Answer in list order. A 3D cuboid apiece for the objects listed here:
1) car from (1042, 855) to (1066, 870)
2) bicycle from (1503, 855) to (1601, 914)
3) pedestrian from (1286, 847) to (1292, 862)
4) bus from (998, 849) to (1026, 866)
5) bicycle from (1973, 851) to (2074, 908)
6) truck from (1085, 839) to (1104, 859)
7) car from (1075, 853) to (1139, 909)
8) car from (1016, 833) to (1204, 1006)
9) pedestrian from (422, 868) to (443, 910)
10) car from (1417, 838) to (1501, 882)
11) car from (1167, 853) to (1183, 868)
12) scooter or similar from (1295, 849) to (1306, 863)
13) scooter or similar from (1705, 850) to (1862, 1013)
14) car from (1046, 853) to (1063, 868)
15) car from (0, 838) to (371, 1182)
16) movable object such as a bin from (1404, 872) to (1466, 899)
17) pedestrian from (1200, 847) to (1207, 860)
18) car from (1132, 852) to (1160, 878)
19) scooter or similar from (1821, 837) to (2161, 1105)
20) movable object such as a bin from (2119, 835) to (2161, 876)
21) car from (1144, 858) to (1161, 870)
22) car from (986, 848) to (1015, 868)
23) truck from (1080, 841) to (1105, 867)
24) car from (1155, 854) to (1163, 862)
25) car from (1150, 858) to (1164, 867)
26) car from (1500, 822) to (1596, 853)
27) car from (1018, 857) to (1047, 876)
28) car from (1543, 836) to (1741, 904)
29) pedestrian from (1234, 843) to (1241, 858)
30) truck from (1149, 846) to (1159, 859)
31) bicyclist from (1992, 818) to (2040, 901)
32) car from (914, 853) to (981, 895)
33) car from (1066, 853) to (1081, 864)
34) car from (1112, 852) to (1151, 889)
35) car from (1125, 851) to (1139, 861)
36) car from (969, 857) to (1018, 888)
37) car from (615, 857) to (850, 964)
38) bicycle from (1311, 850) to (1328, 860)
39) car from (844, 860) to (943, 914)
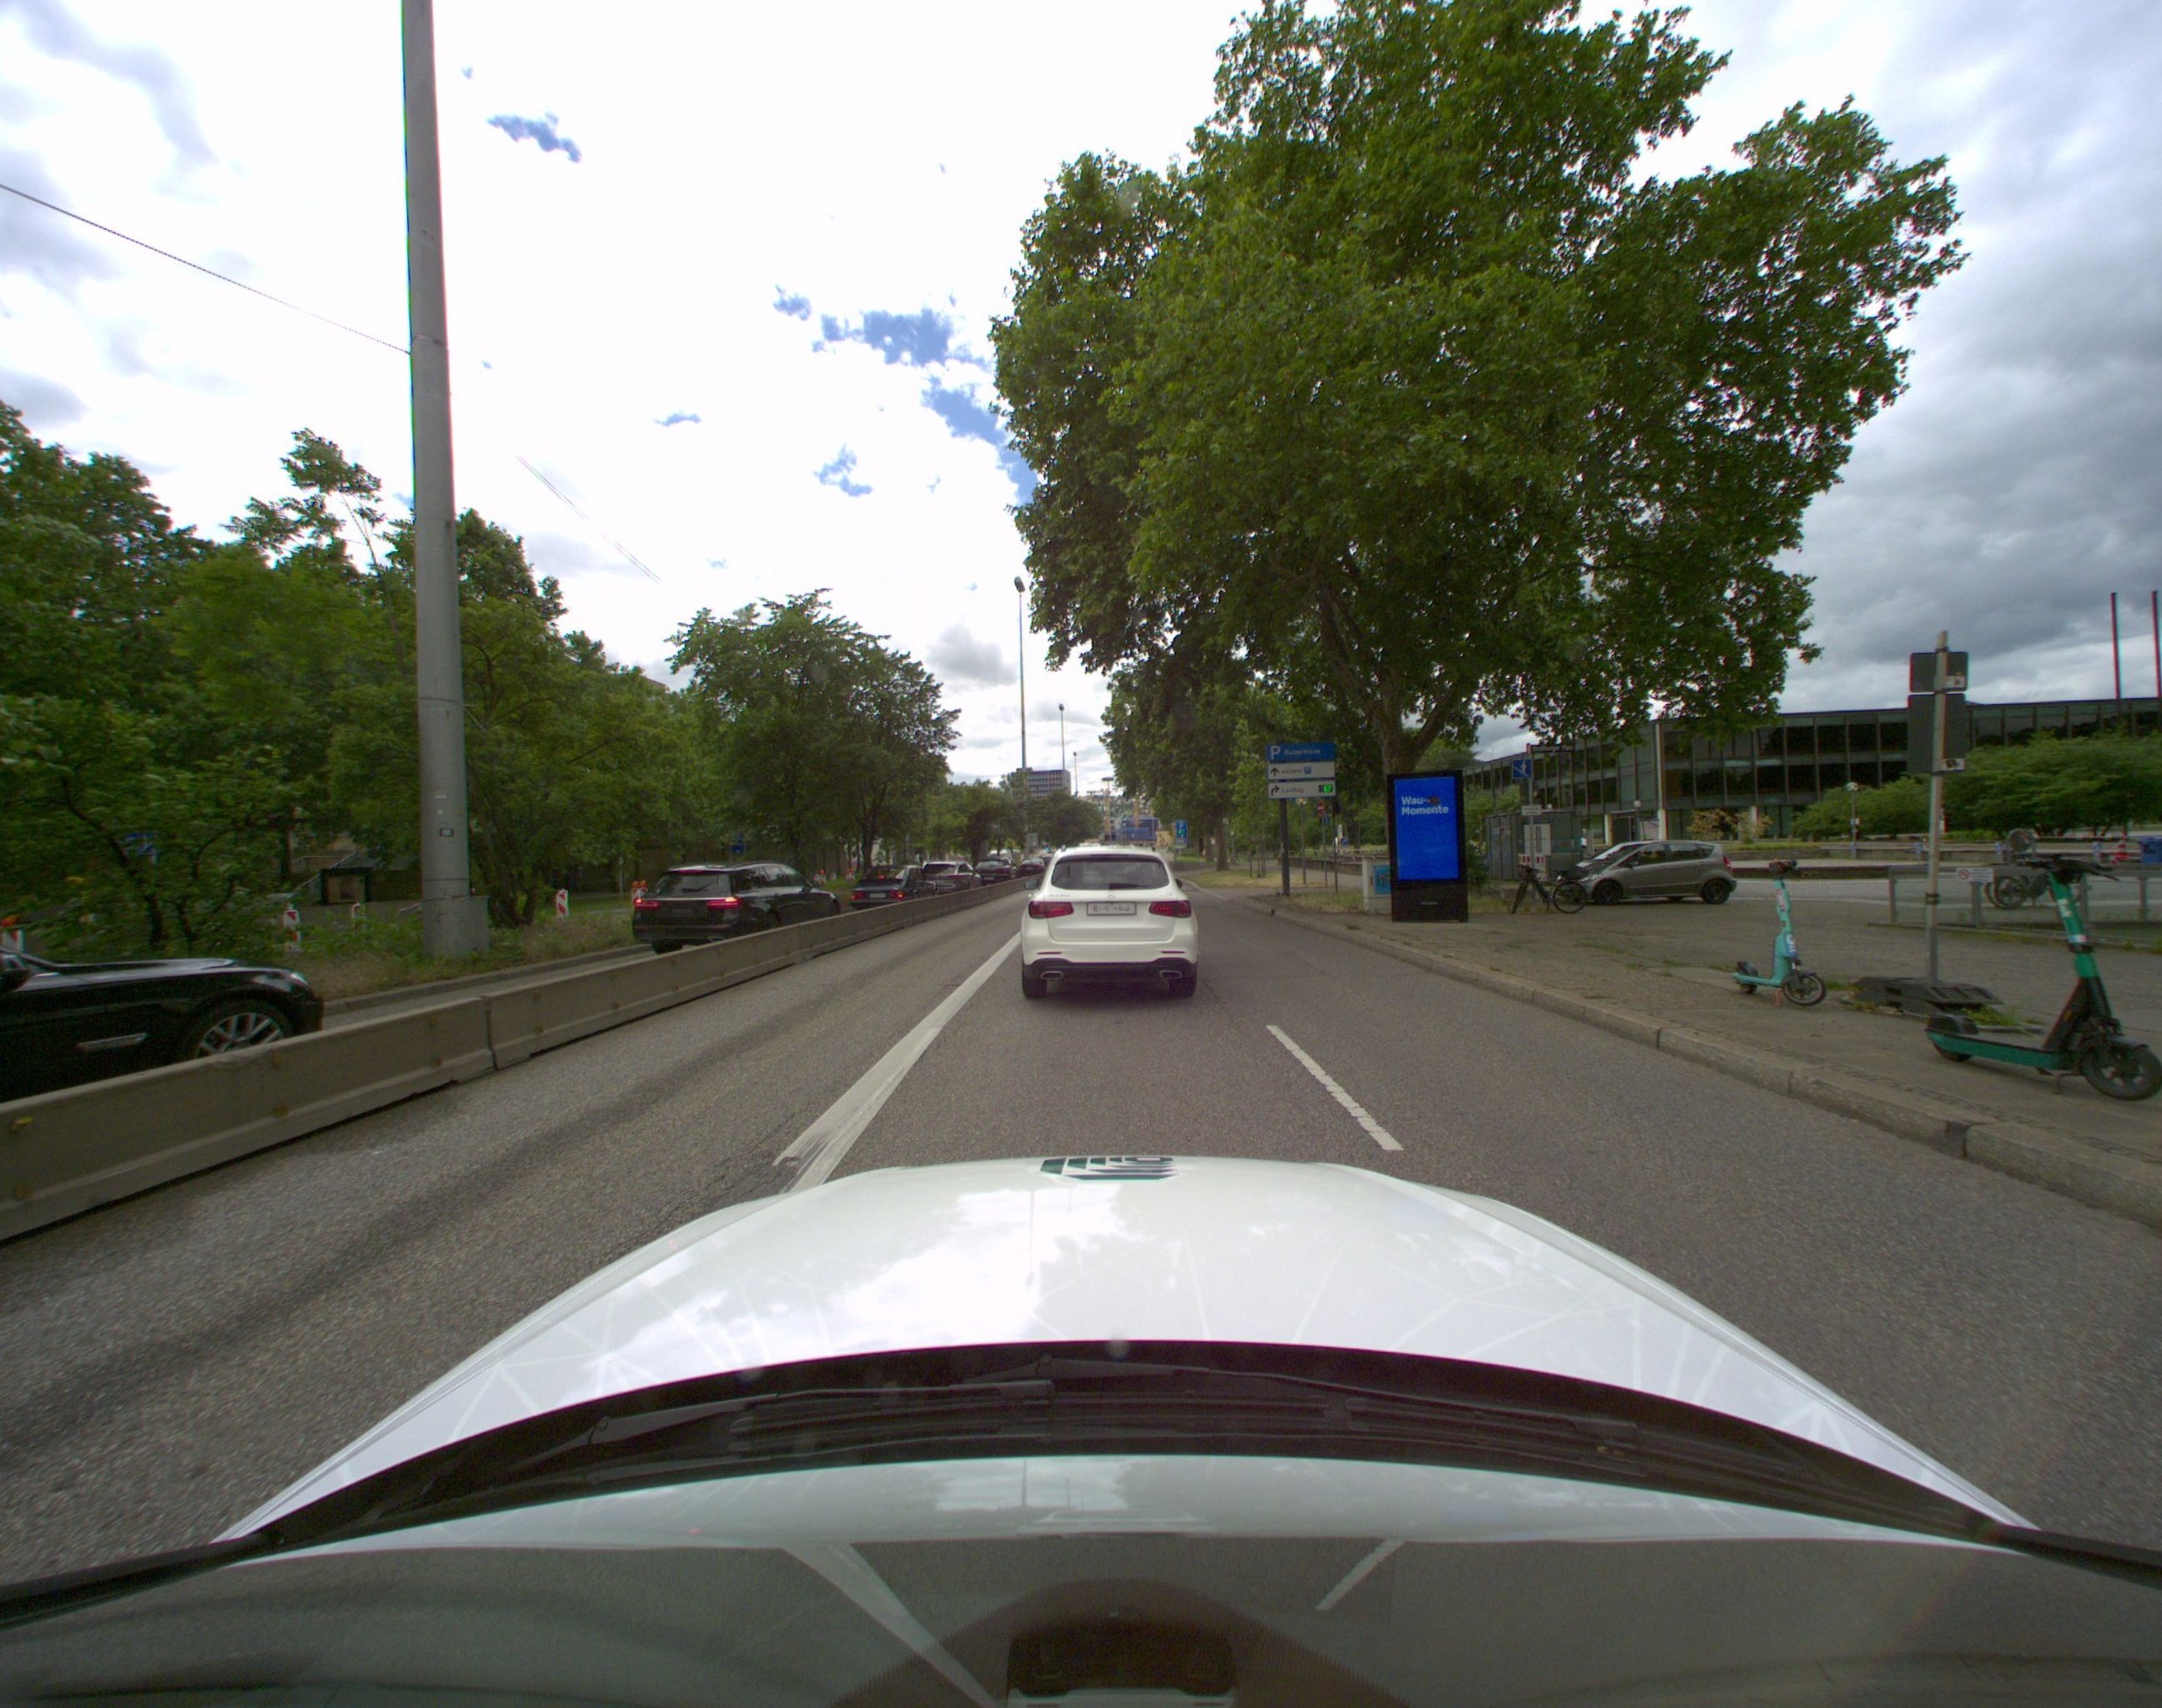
[{"bbox_3d":[-2.356,0.744,71.448,1.651,1.319,3.553,-1,-1,6],"label":"car"},{"bbox_3d":[10.174,0.645,17.614,1.776,1.221,0.493,-1,-1,5],"label":"bicycle"},{"bbox_3d":[22.851,0.028,89.446,0.634,1.611,0.665,-2,0,10],"label":"pedestrian"},{"bbox_3d":[-14.504,0.724,173.109,3.651,3.205,14.288,-2,0,4],"label":"bus"},{"bbox_3d":[19.798,0.523,17.115,1.746,1.131,0.443,-1,0,-6],"label":"bicycle"},{"bbox_3d":[2.017,-0.702,122.605,2.681,2.992,5.640,0,-1,2],"label":"truck"},{"bbox_3d":[0.763,0.814,25.747,1.791,1.608,3.752,-1,-1,-2],"label":"car"},{"bbox_3d":[0.203,0.632,10.134,1.783,1.625,4.433,-2,0,-2],"label":"car"},{"bbox_3d":[-31.985,1.712,40.176,0.449,2.013,0.666,-2,0,3],"label":"pedestrian"},{"bbox_3d":[15.250,0.201,33.073,1.752,1.551,4.031,-2,2,4],"label":"car"},{"bbox_3d":[13.194,0.909,114.290,1.985,2.014,4.004,-1,-1,4],"label":"car"},{"bbox_3d":[20.215,0.186,74.932,0.632,1.245,2.228,0,-1,5],"label":"scooter or similar"},{"bbox_3d":[6.104,0.617,7.164,0.428,1.280,1.439,0,-1,14],"label":"scooter or similar"},{"bbox_3d":[-2.685,0.676,83.184,1.654,1.513,3.547,-2,-1,0],"label":"car"},{"bbox_3d":[-6.139,0.748,3.340,1.915,1.636,4.941,-1,-1,4],"label":"car"},{"bbox_3d":[8.820,0.783,20.334,1.290,0.652,0.731,0,-1,11],"label":"movable object such as a bin"},{"bbox_3d":[19.754,-0.030,131.001,0.752,2.013,0.703,-2,-1,39],"label":"pedestrian"},{"bbox_3d":[4.678,0.784,58.723,1.818,1.752,4.003,-2,0,2],"label":"car"},{"bbox_3d":[5.329,0.590,4.767,0.723,1.331,1.414,0,-1,2],"label":"scooter or similar"},{"bbox_3d":[35.312,0.027,26.551,1.402,1.304,1.154,-2,0,5],"label":"movable object such as a bin"},{"bbox_3d":[8.550,1.155,97.062,1.938,1.428,4.021,-1,-1,4],"label":"car"},{"bbox_3d":[-8.470,0.410,86.332,2.107,1.969,5.582,-2,0,3],"label":"car"},{"bbox_3d":[1.332,-0.008,91.092,2.611,2.861,7.082,0,0,2],"label":"truck"},{"bbox_3d":[17.619,0.889,183.842,1.751,1.669,4.171,-1,0,3],"label":"car"},{"bbox_3d":[10.959,1.190,117.444,1.938,1.319,4.021,-1,-1,4],"label":"car"},{"bbox_3d":[36.946,-1.283,64.573,6.079,2.261,2.404,-1,0,4],"label":"car"},{"bbox_3d":[-3.452,0.890,58.047,1.652,1.319,3.550,-1,-1,3],"label":"car"},{"bbox_3d":[14.144,0.398,20.698,3.820,1.568,1.680,-1,0,2],"label":"car"},{"bbox_3d":[18.726,-0.398,97.184,0.754,1.725,0.701,-2,0,11],"label":"pedestrian"},{"bbox_3d":[22.300,-0.416,250.261,2.865,4.103,6.644,0,0,4],"label":"truck"},{"bbox_3d":[20.075,0.117,17.488,0.435,1.748,0.474,-1,0,-5],"label":"bicyclist"},{"bbox_3d":[-4.915,0.730,30.395,1.655,1.436,3.963,-1,-1,2],"label":"car"},{"bbox_3d":[-1.027,0.586,106.334,1.652,1.319,3.551,-1,-1,4],"label":"car"},{"bbox_3d":[2.351,0.766,38.627,1.654,1.639,3.547,-1,-1,0],"label":"car"},{"bbox_3d":[7.174,0.282,114.660,1.938,1.319,4.021,-1,-1,4],"label":"car"},{"bbox_3d":[-4.454,0.927,42.082,1.768,1.420,4.004,-2,0,4],"label":"car"},{"bbox_3d":[-5.726,0.832,14.178,1.809,1.499,4.772,-2,0,3],"label":"car"},{"bbox_3d":[23.712,0.139,80.999,0.950,0.975,2.789,0,-1,3],"label":"bicycle"},{"bbox_3d":[-5.414,0.906,24.131,1.671,1.367,4.546,-2,0,3],"label":"car"}]
